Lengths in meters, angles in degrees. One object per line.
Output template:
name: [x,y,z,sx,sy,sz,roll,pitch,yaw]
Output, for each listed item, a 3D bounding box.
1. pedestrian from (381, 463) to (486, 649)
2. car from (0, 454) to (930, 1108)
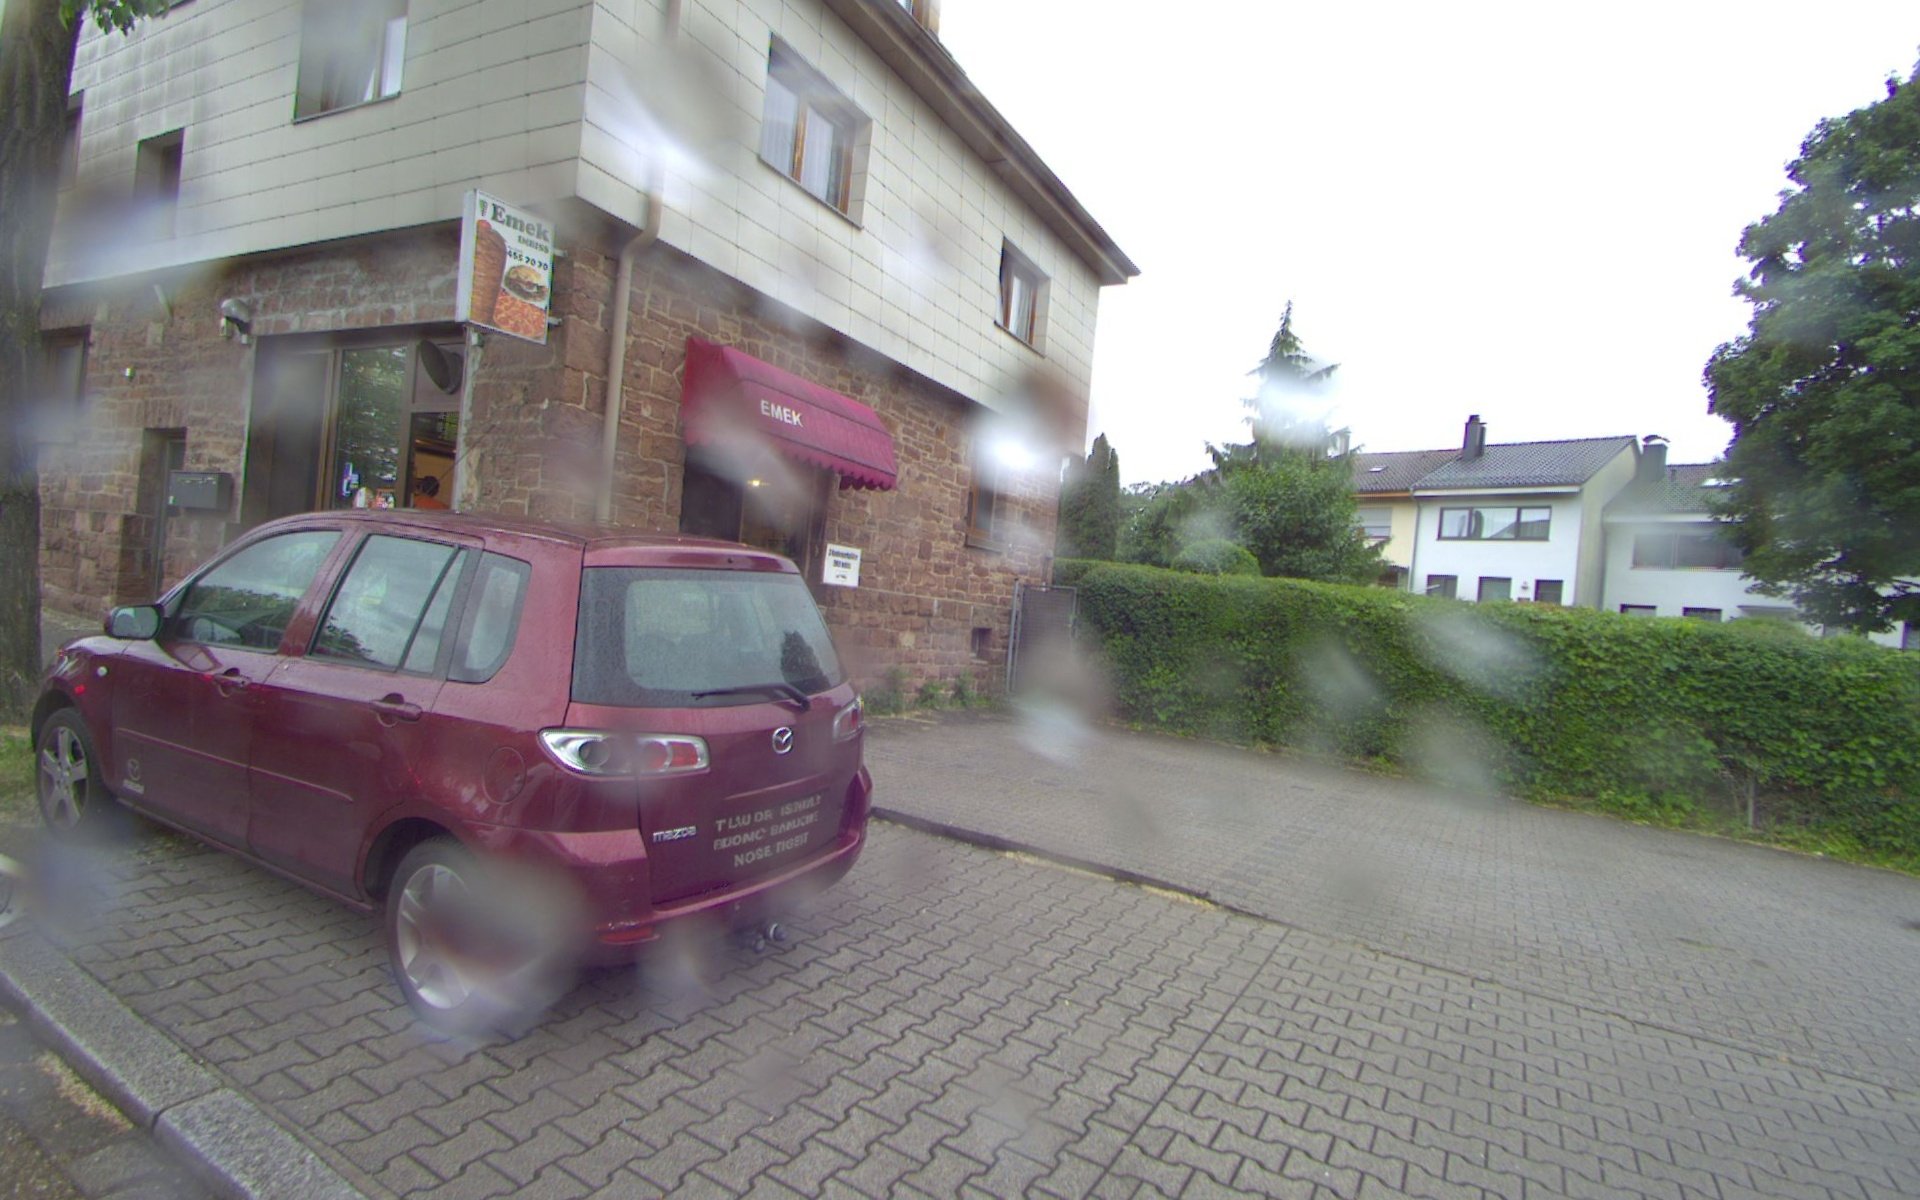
pedestrian: [-5.543,-0.448,10.602,0.475,1.862,0.638,7,0,31]
car: [-2.114,0.358,4.077,3.565,1.511,1.585,7,3,29]
